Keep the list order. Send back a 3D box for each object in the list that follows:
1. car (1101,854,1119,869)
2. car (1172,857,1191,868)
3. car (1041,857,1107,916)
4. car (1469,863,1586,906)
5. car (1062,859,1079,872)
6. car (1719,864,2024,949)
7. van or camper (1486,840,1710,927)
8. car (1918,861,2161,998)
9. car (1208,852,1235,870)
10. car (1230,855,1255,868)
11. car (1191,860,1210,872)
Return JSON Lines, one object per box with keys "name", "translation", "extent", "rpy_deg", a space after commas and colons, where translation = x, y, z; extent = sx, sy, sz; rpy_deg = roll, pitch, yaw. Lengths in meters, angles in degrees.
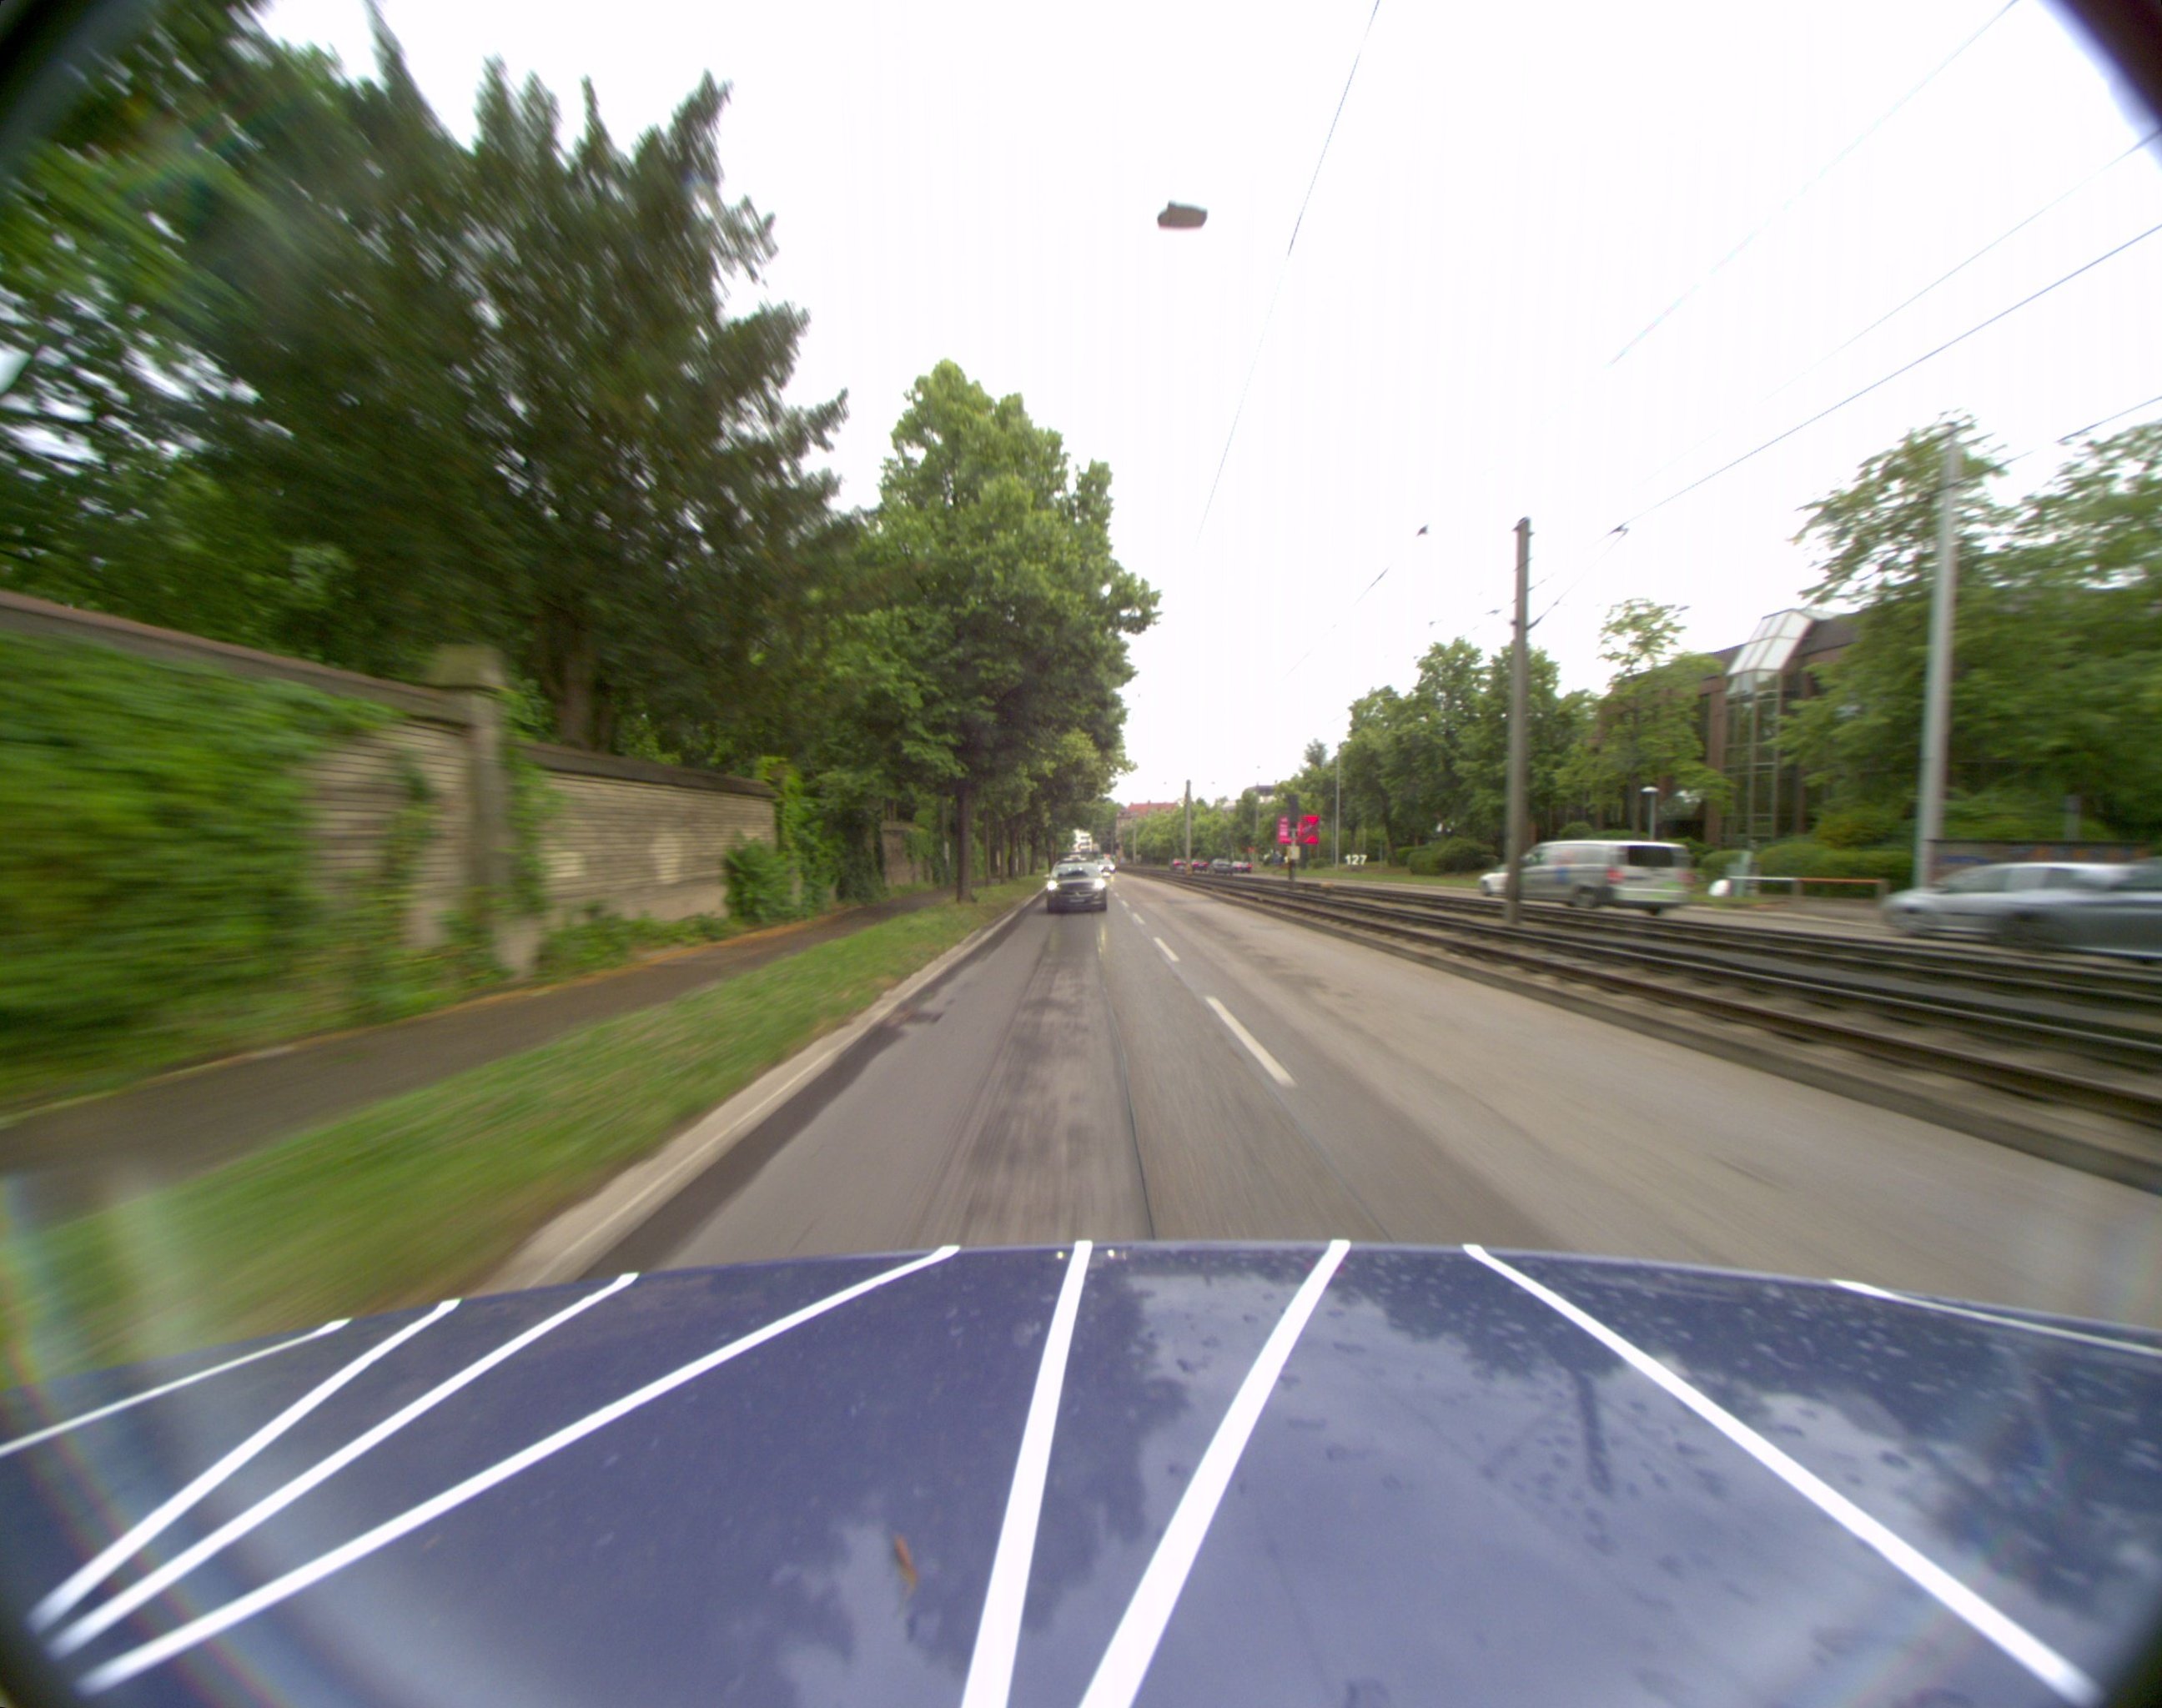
{"name": "car", "translation": [2.972, 0.755, 78.037], "extent": [1.768, 1.502, 4.341], "rpy_deg": [0, 0, 2]}
{"name": "car", "translation": [12.706, 1.061, 96.204], "extent": [1.692, 1.385, 4.340], "rpy_deg": [0, 0, -1]}
{"name": "car", "translation": [-0.144, 0.901, 22.827], "extent": [1.746, 1.544, 4.494], "rpy_deg": [-2, 0, 1]}
{"name": "car", "translation": [16.660, 1.089, 28.622], "extent": [1.692, 1.409, 4.362], "rpy_deg": [2, 0, -2]}
{"name": "car", "translation": [-1.230, 1.284, 86.978], "extent": [1.769, 1.502, 4.339], "rpy_deg": [0, 0, -4]}
{"name": "car", "translation": [16.195, 0.976, 15.993], "extent": [1.692, 1.459, 4.479], "rpy_deg": [2, 0, -1]}
{"name": "van or camper", "translation": [13.171, 0.679, 19.980], "extent": [1.918, 1.948, 5.693], "rpy_deg": [0, 0, -1]}
{"name": "car", "translation": [12.984, 0.852, 8.683], "extent": [1.792, 1.523, 4.504], "rpy_deg": [0, 0, -2]}
{"name": "car", "translation": [13.093, 0.677, 70.923], "extent": [1.692, 1.628, 4.340], "rpy_deg": [0, 0, -1]}
{"name": "car", "translation": [19.046, 0.826, 89.819], "extent": [1.958, 1.493, 4.340], "rpy_deg": [0, 0, -1]}
{"name": "car", "translation": [15.668, 1.516, 99.445], "extent": [1.769, 1.502, 4.340], "rpy_deg": [0, 0, -1]}
